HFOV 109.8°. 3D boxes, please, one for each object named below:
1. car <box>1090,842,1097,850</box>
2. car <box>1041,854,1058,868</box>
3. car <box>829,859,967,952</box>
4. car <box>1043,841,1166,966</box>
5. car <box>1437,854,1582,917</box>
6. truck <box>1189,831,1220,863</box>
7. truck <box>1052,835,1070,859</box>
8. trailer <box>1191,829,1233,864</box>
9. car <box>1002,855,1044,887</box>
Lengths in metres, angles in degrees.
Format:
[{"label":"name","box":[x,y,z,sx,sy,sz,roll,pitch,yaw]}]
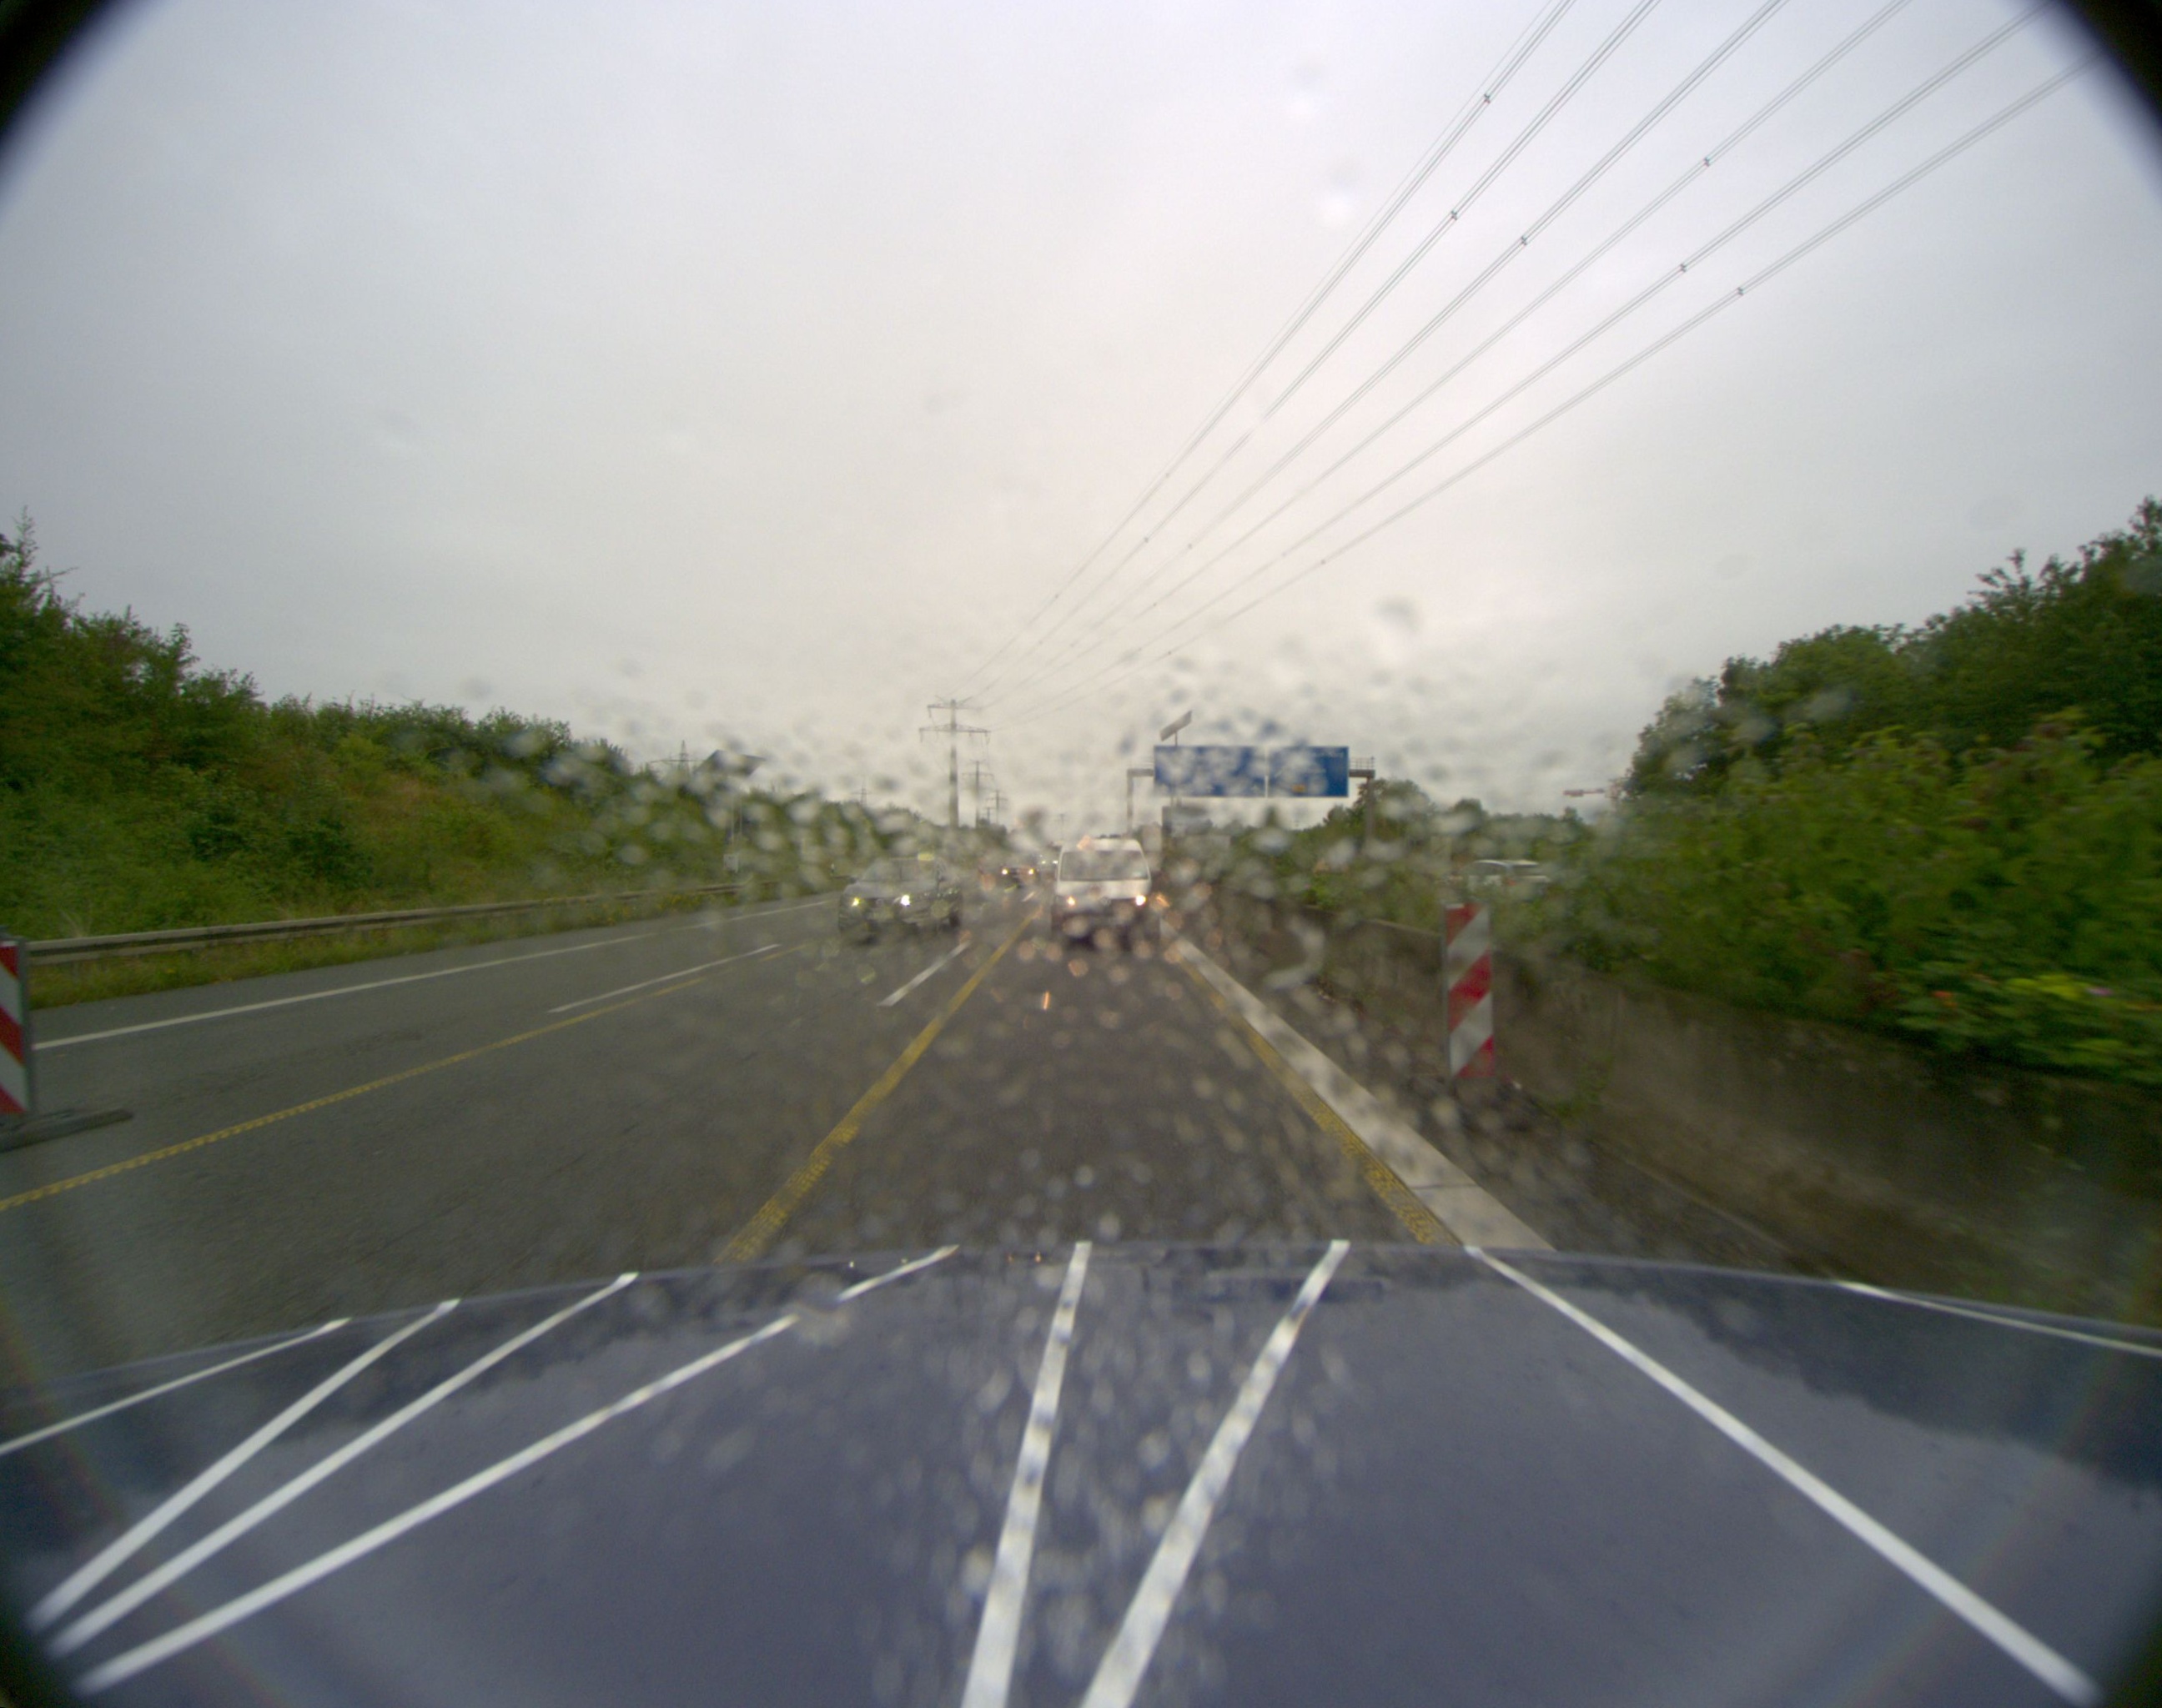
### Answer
[{"label":"car","box":[3.382,-2.062,203.910,1.785,2.002,3.999,-2,1,1]},{"label":"car","box":[-3.592,0.774,87.057,1.804,1.598,4.149,-1,0,-1]},{"label":"car","box":[-3.494,0.911,15.314,1.804,1.523,4.149,-1,0,-1]},{"label":"car","box":[0.361,0.719,13.389,1.768,1.803,4.345,-1,0,0]},{"label":"car","box":[11.708,0.788,21.118,1.722,1.447,4.160,-2,1,1]},{"label":"truck","box":[16.121,-0.919,99.560,2.793,4.000,7.232,2,1,0]},{"label":"truck","box":[-3.498,-1.257,135.900,2.875,4.007,8.308,-1,1,1]},{"label":"trailer","box":[16.209,-0.875,95.244,2.793,4.000,13.249,2,0,0]},{"label":"car","box":[-2.835,0.811,37.942,1.804,1.432,4.149,-1,0,-1]}]
